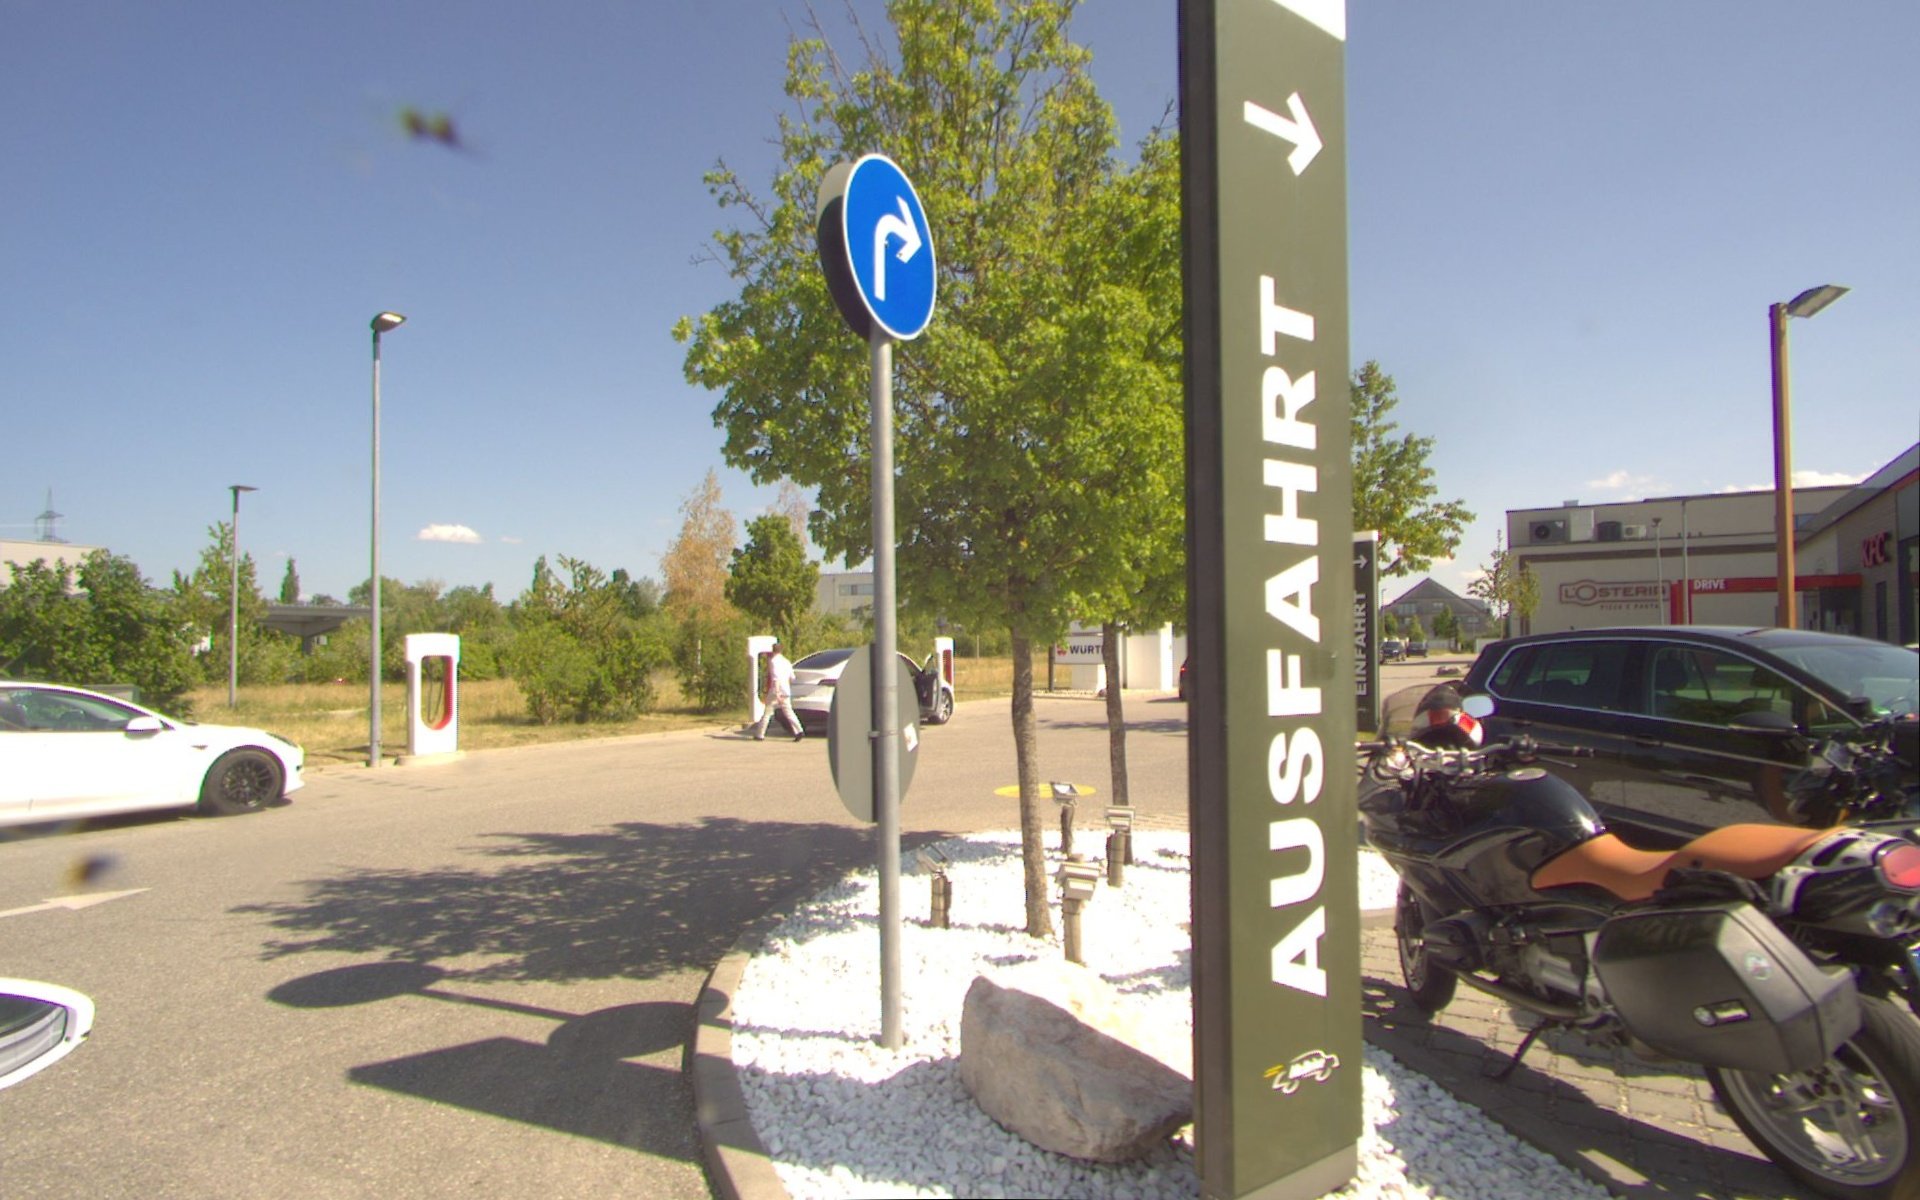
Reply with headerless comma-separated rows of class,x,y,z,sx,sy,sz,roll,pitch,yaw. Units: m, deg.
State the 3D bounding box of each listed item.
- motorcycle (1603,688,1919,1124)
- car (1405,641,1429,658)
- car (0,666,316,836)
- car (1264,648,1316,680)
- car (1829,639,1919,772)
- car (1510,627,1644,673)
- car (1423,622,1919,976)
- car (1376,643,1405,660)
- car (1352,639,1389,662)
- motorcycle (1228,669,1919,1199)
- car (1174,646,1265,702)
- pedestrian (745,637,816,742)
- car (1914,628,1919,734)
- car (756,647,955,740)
motorcycle,3.295,0.963,3.117,0.807,1.247,2.136,1,-2,-20
car,43.979,4.734,96.271,1.722,1.588,3.984,-2,-3,30
car,-8.821,1.361,9.318,1.796,1.395,4.428,-2,-3,31
car,17.522,3.343,53.050,1.921,1.588,3.985,-2,-3,28
car,12.406,1.157,11.444,4.112,1.443,1.842,0,-2,-18
car,23.753,1.936,38.751,4.319,1.706,1.635,-2,-2,30
car,4.879,0.918,5.809,1.861,1.556,4.188,0,-2,-12
car,34.872,4.155,81.054,1.722,1.404,3.984,-2,-3,30
car,29.225,3.558,71.253,1.922,1.588,3.983,-2,-3,30
motorcycle,1.938,0.915,3.213,1.052,1.267,2.248,2,-1,-16
car,7.476,2.047,28.591,1.671,1.459,4.201,-1,-2,26
pedestrian,-3.223,1.575,18.003,1.019,1.823,0.734,0,-1,27
car,15.766,1.131,13.380,1.724,1.596,4.085,0,-3,-12
car,-1.969,1.782,20.289,1.841,1.620,4.473,-1,-2,28
